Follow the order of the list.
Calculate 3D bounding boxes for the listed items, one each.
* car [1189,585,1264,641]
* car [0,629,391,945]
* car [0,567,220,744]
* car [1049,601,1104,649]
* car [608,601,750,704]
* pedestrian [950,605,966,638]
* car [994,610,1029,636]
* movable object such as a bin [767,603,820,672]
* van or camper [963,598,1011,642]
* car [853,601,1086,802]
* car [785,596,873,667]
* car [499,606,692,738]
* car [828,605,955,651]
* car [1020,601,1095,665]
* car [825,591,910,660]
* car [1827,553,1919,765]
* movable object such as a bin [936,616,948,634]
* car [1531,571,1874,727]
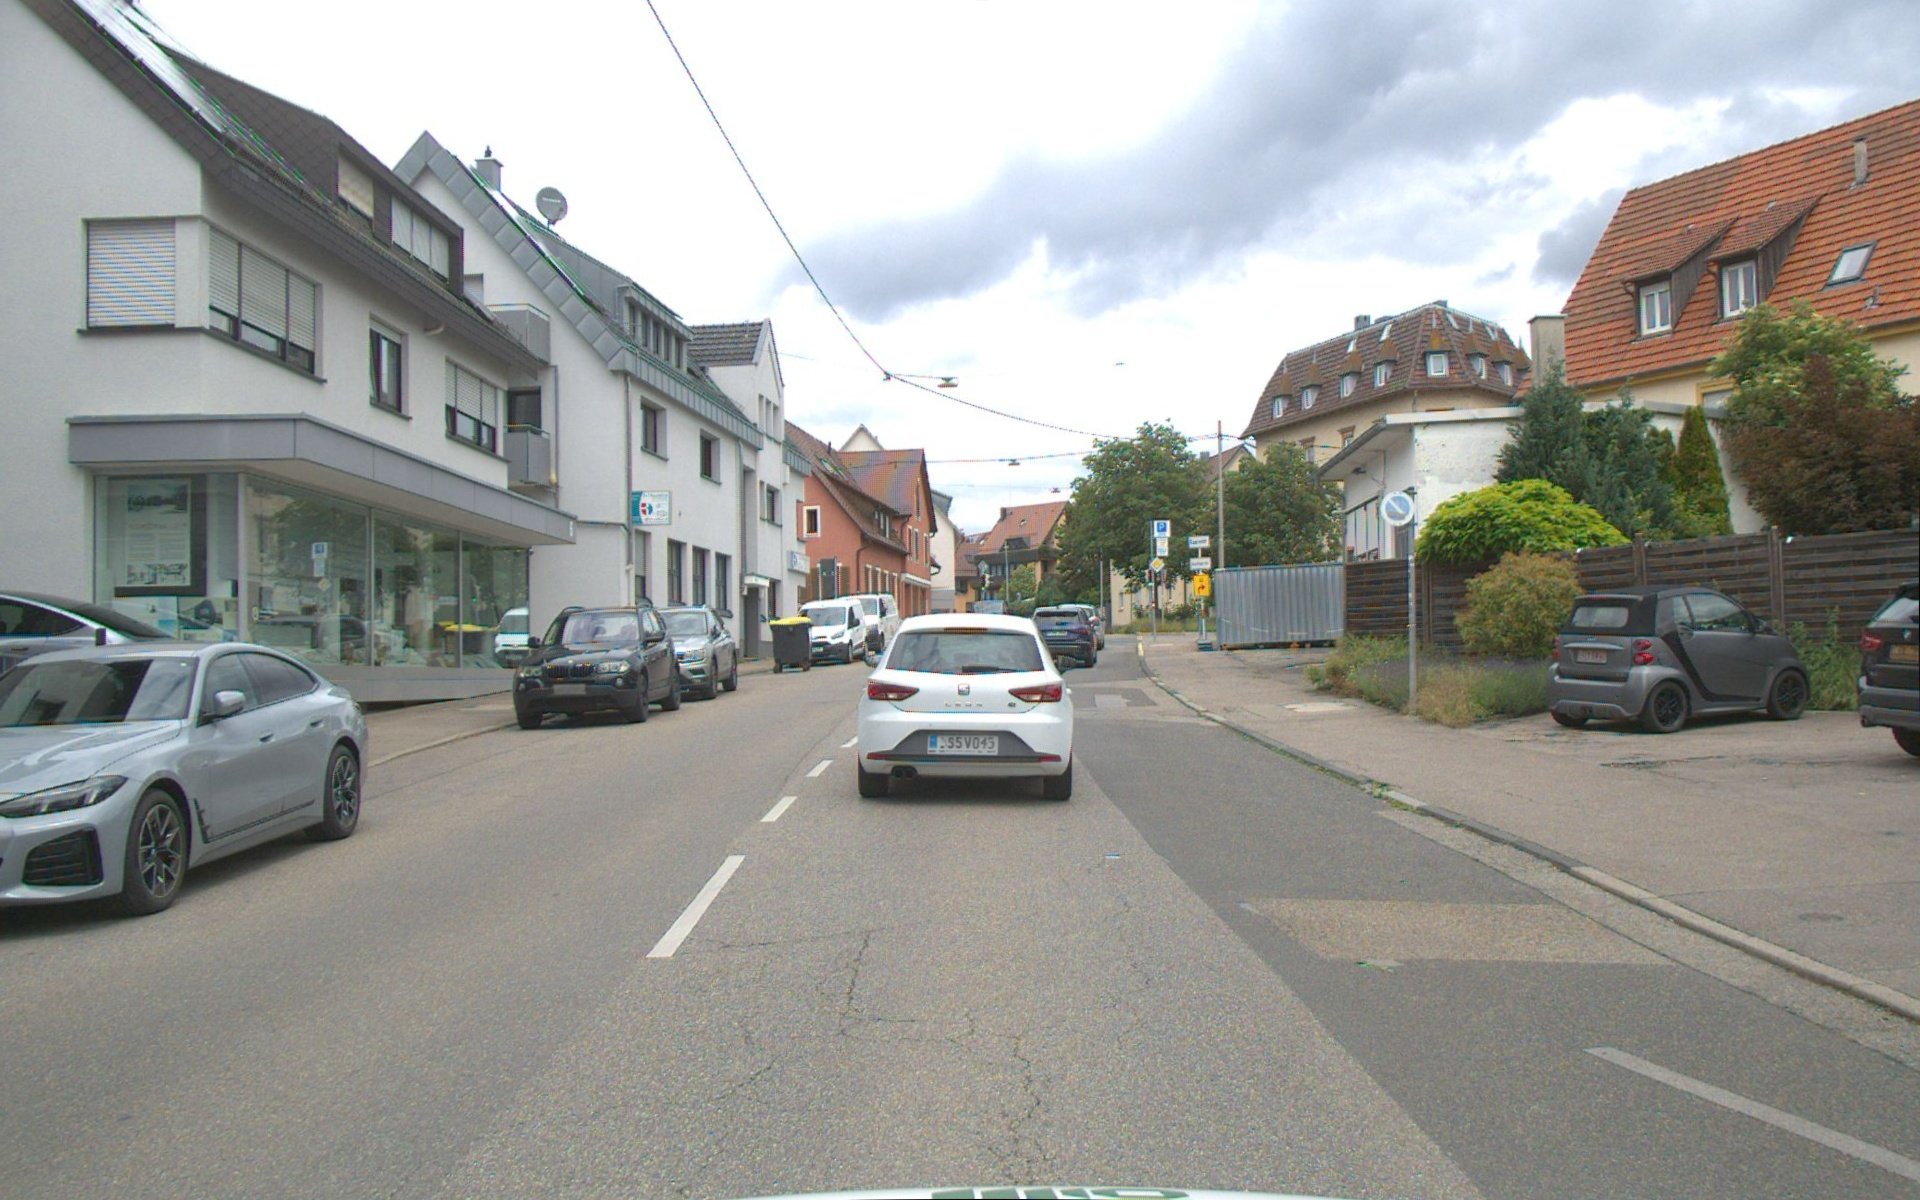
[{"bbox_3d":[9.152,0.421,57.095,1.711,1.770,4.571,-3,0,-1],"label":"car"},{"bbox_3d":[-5.236,1.000,10.401,1.800,1.470,4.466,-3,0,-2],"label":"car"},{"bbox_3d":[-10.978,0.657,19.099,3.905,1.888,2.000,-2,-1,1],"label":"car"},{"bbox_3d":[3.815,0.849,54.165,1.721,1.477,4.001,-1,-2,4],"label":"car"},{"bbox_3d":[-5.023,0.895,30.151,1.800,1.661,4.408,-3,0,0],"label":"car"},{"bbox_3d":[-0.111,1.224,93.144,0.783,1.816,0.893,-1,-1,5],"label":"pedestrian"},{"bbox_3d":[3.339,1.513,107.542,1.957,1.662,4.855,0,-2,-2],"label":"car"},{"bbox_3d":[-4.183,0.922,41.773,1.117,1.661,1.563,-2,0,-1],"label":"movable object such as a bin"},{"bbox_3d":[1.469,1.088,86.983,2.030,2.041,4.860,-3,-3,5],"label":"van or camper"},{"bbox_3d":[0.168,0.789,14.373,1.722,1.477,4.001,-1,-1,3],"label":"car"},{"bbox_3d":[-3.726,0.877,47.733,1.697,1.863,4.300,-3,0,5],"label":"car"},{"bbox_3d":[-5.203,0.965,24.179,1.800,1.661,4.408,-3,0,0],"label":"car"},{"bbox_3d":[-2.586,1.063,62.862,4.456,1.470,2.002,-3,-1,9],"label":"car"},{"bbox_3d":[2.418,0.784,40.533,1.721,1.477,4.002,-1,-1,4],"label":"car"},{"bbox_3d":[-2.927,0.805,53.393,1.773,2.040,4.766,-3,-1,8],"label":"car"},{"bbox_3d":[9.601,0.402,13.590,4.036,1.683,1.900,-2,0,-10],"label":"car"},{"bbox_3d":[-1.036,1.439,96.242,0.651,1.036,0.795,-2,-1,2],"label":"movable object such as a bin"},{"bbox_3d":[8.344,0.508,18.636,3.264,1.545,1.694,-2,0,-21],"label":"car"}]
